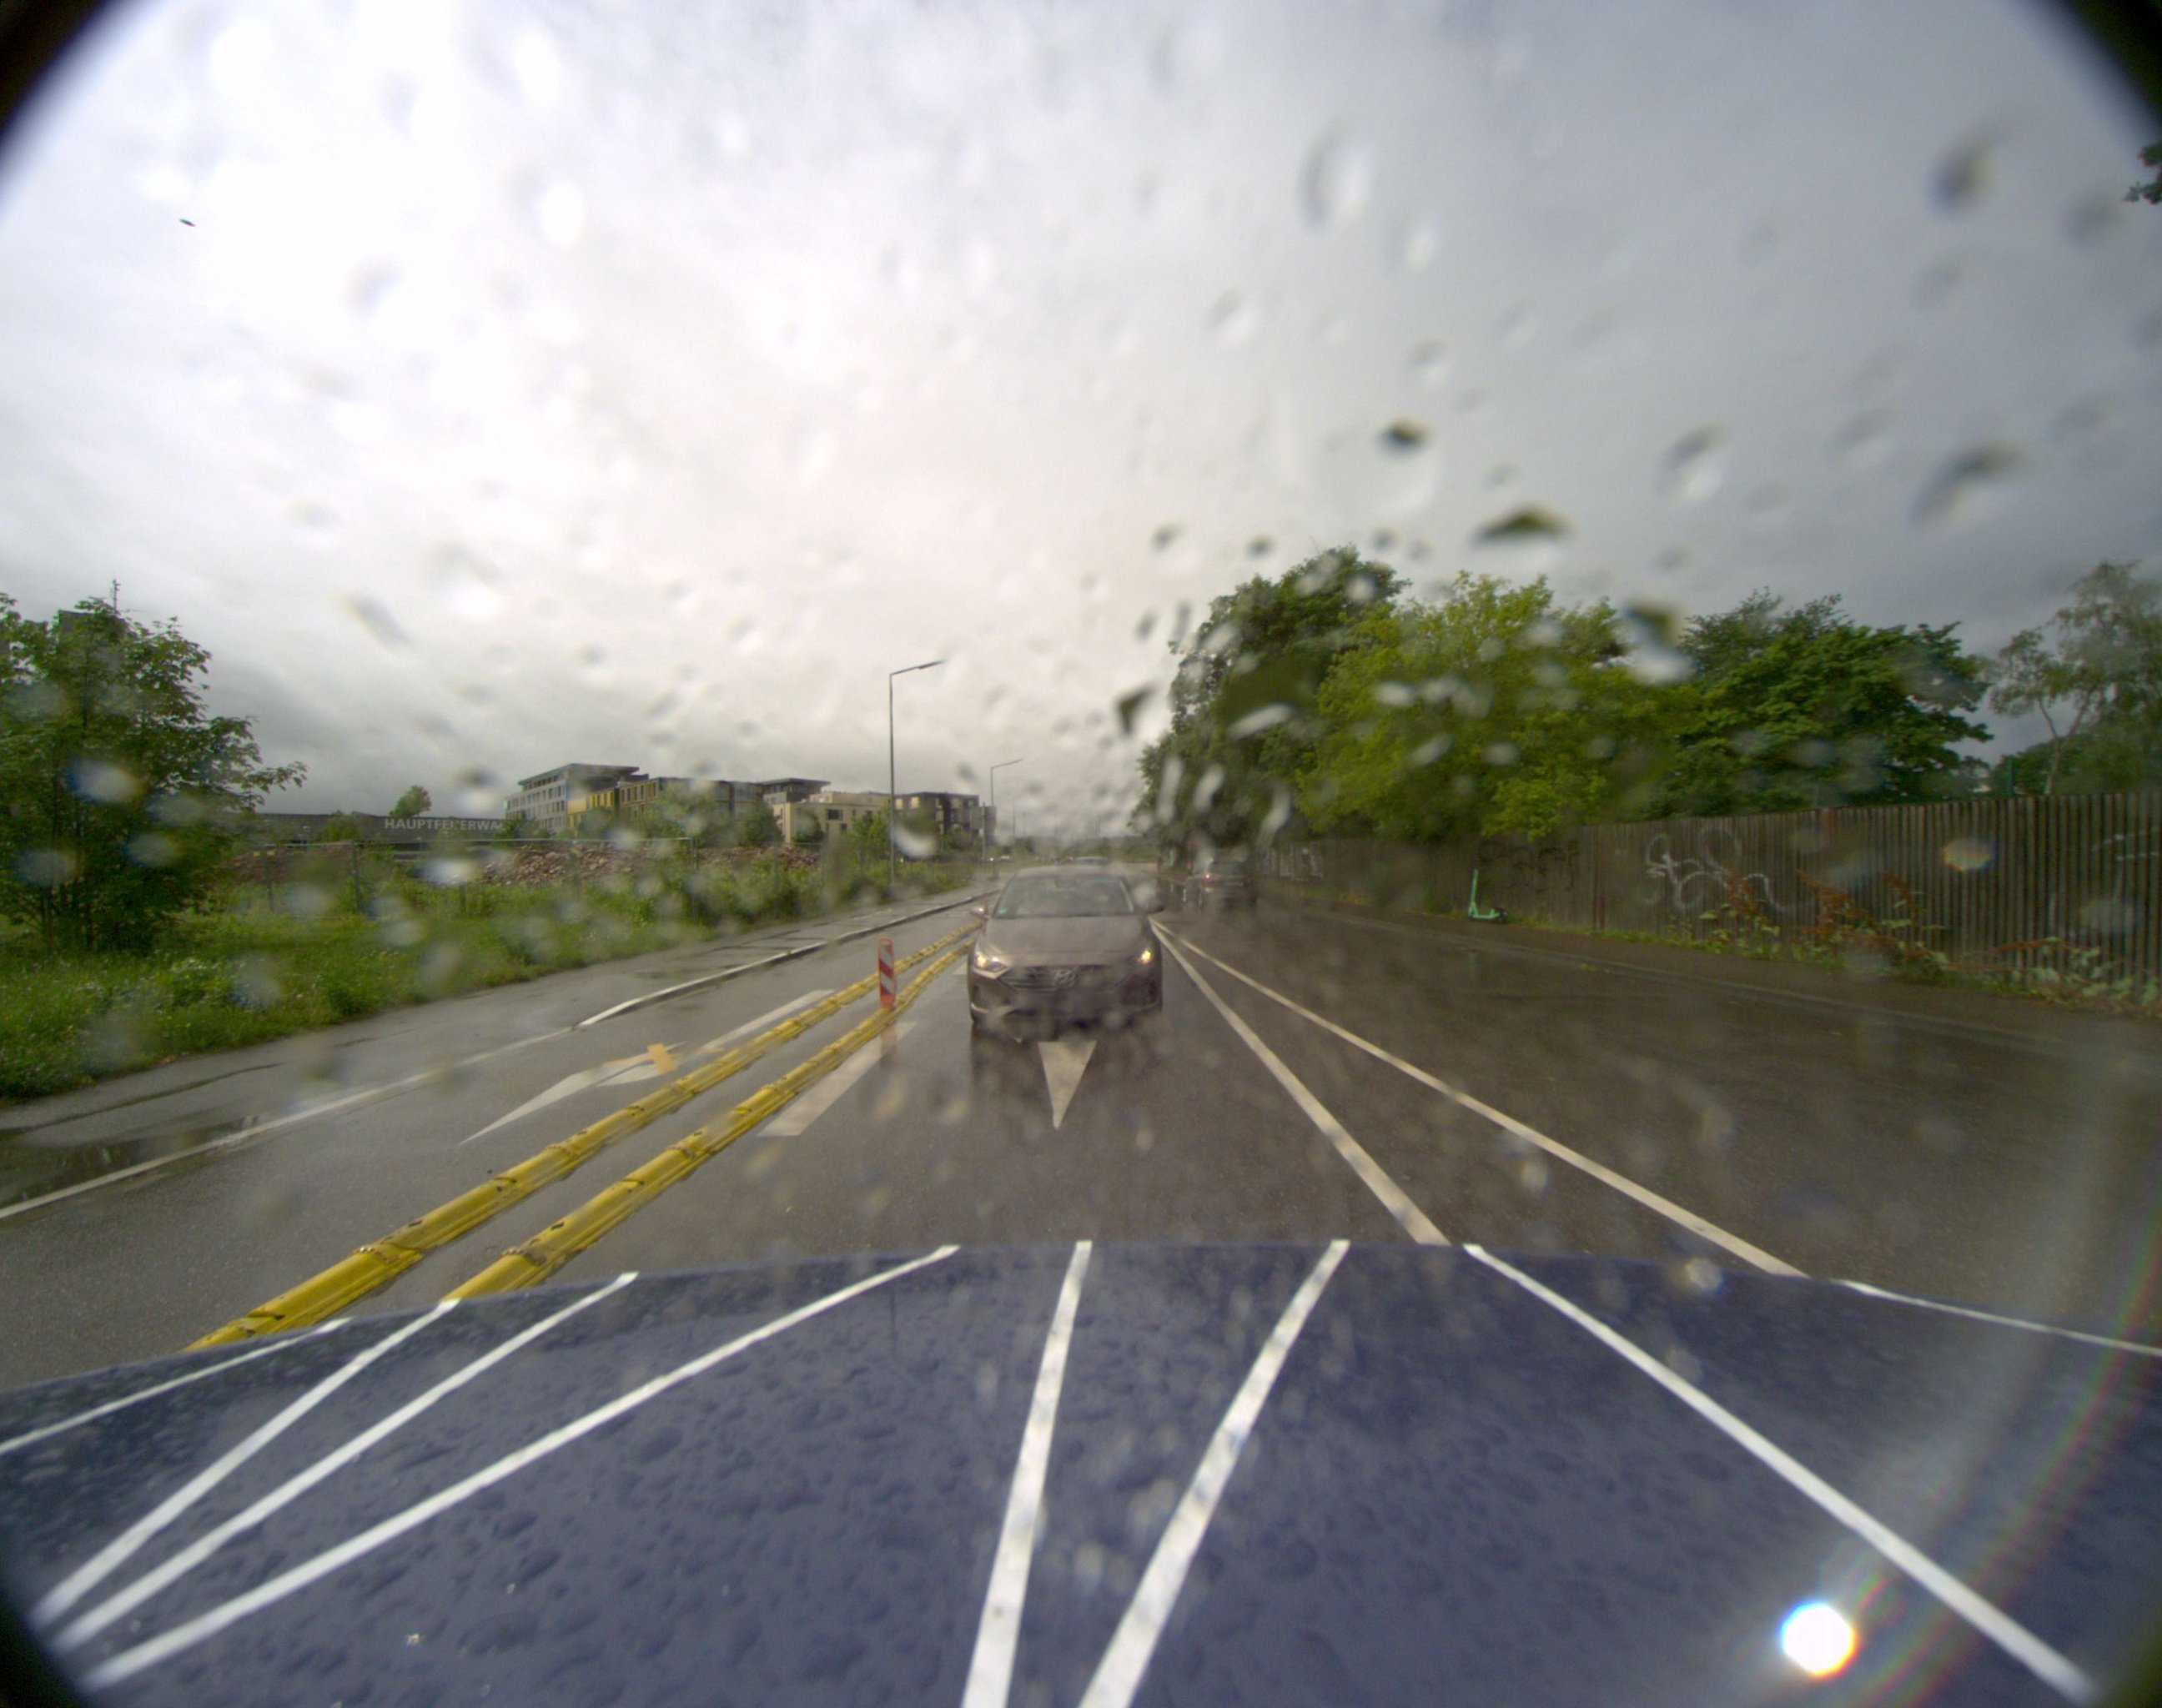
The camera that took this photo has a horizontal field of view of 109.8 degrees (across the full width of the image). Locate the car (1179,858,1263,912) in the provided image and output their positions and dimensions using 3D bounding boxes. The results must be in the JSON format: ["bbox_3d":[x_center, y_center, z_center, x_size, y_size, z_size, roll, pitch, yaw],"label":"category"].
[{"bbox_3d":[4.415,0.925,24.612,1.785,1.543,4.425,2,0,-1],"label":"car"}]

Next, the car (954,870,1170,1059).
[{"bbox_3d":[-0.193,0.938,8.090,1.724,1.423,3.818,-1,0,-1],"label":"car"}]

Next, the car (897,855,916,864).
[{"bbox_3d":[-34.891,1.086,152.016,1.644,1.573,3.674,-1,0,24],"label":"car"}]

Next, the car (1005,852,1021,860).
[{"bbox_3d":[-18.252,0.537,204.542,4.008,2.002,1.994,-1,0,-43],"label":"car"}]

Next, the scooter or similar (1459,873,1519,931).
[{"bbox_3d":[8.749,1.007,16.336,0.564,1.156,1.207,-1,0,-6],"label":"scooter or similar"}]

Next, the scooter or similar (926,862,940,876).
[{"bbox_3d":[-12.553,1.263,64.332,1.191,1.143,0.484,0,1,34],"label":"scooter or similar"}]

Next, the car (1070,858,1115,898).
[{"bbox_3d":[0.455,0.958,32.063,1.734,1.539,3.770,-1,0,0],"label":"car"}]

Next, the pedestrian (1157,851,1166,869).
[{"bbox_3d":[8.137,0.606,76.925,0.841,1.759,0.644,0,1,1],"label":"pedestrian"}]
